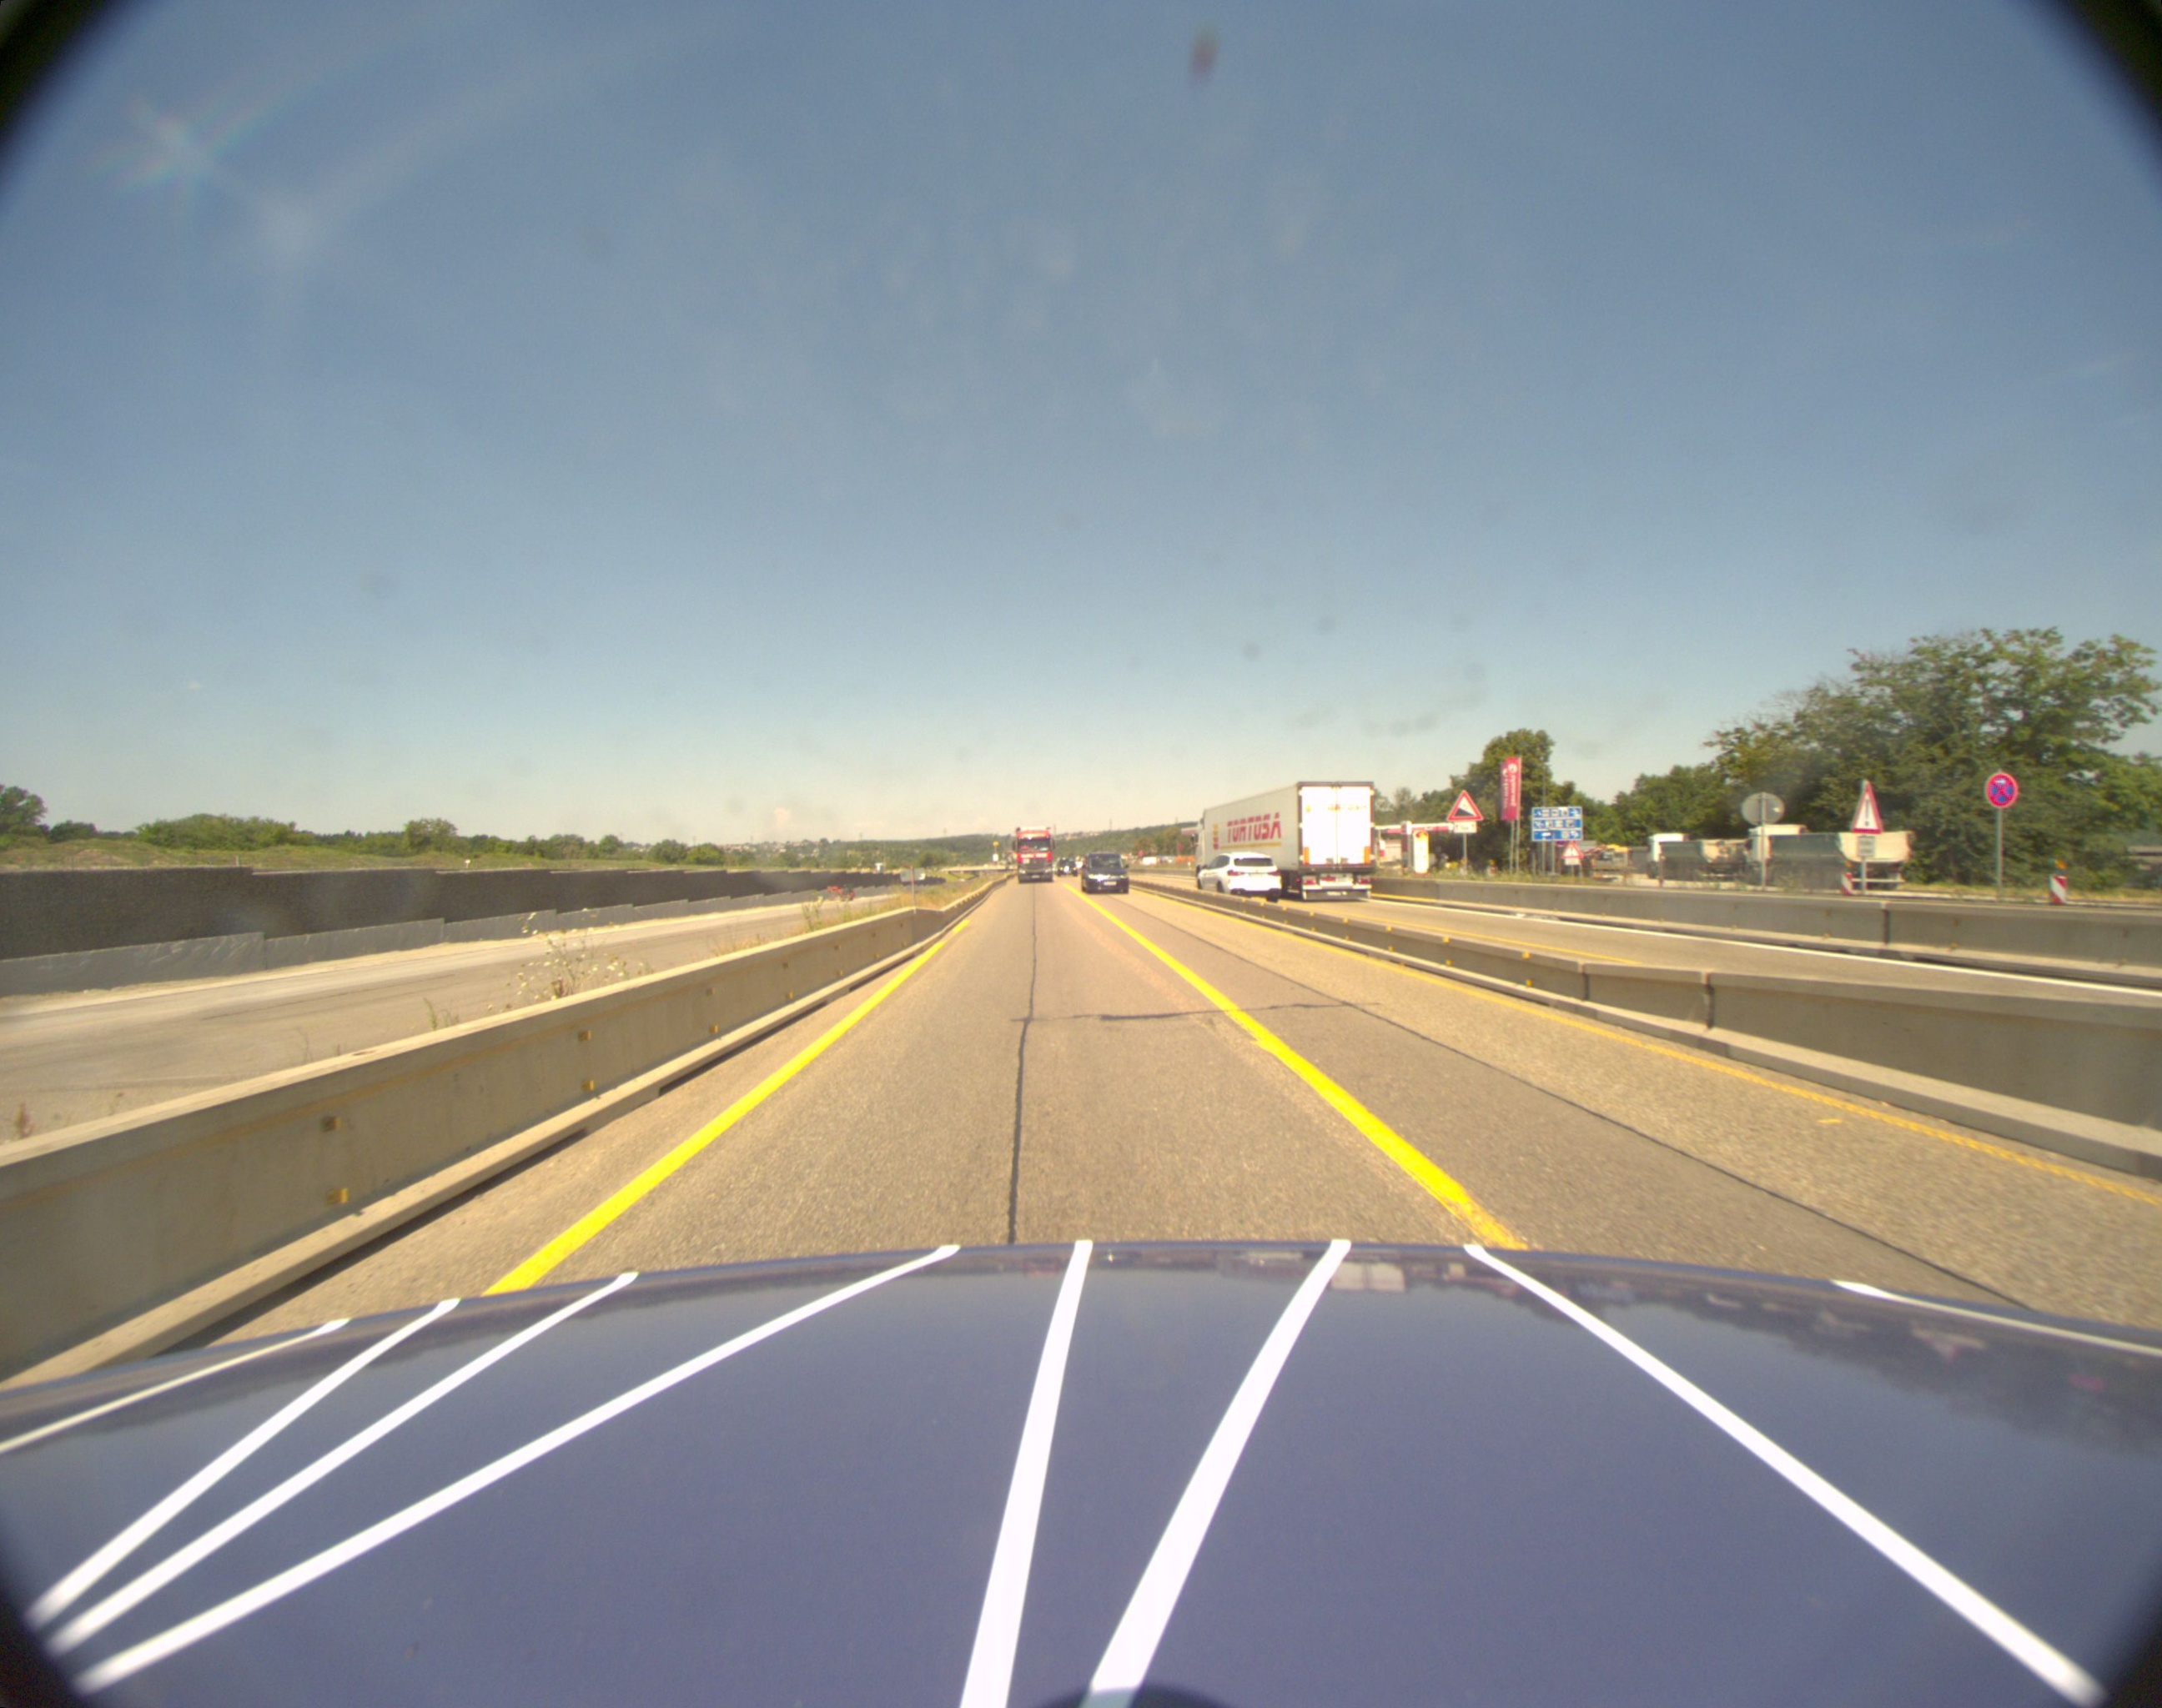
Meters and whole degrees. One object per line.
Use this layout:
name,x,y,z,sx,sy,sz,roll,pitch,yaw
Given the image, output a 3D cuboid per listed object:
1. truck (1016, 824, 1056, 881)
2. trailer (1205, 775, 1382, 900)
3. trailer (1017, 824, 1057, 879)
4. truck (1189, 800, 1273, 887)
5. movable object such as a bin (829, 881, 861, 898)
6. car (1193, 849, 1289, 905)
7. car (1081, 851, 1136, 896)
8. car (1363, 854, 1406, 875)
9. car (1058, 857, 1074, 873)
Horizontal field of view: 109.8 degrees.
truck,-3.194,-0.132,54.934,2.627,3.880,4.932,-2,1,-2
trailer,8.140,-0.505,31.777,2.823,4.070,13.119,-2,0,-4
trailer,-3.376,-0.200,61.206,2.702,3.852,12.419,-2,0,-2
truck,7.610,-0.519,39.239,2.839,4.108,5.456,-2,1,-4
movable object such as a bin,-34.662,5.167,111.495,4.140,2.135,1.758,-2,1,-31
car,5.293,0.703,25.787,1.999,1.729,4.491,0,0,-4
car,1.115,0.786,32.732,1.926,1.779,4.601,-1,0,-3
car,21.159,0.708,53.035,1.456,1.368,3.406,-2,0,-3
car,-1.498,1.088,76.110,1.427,1.477,3.413,-2,0,-3
